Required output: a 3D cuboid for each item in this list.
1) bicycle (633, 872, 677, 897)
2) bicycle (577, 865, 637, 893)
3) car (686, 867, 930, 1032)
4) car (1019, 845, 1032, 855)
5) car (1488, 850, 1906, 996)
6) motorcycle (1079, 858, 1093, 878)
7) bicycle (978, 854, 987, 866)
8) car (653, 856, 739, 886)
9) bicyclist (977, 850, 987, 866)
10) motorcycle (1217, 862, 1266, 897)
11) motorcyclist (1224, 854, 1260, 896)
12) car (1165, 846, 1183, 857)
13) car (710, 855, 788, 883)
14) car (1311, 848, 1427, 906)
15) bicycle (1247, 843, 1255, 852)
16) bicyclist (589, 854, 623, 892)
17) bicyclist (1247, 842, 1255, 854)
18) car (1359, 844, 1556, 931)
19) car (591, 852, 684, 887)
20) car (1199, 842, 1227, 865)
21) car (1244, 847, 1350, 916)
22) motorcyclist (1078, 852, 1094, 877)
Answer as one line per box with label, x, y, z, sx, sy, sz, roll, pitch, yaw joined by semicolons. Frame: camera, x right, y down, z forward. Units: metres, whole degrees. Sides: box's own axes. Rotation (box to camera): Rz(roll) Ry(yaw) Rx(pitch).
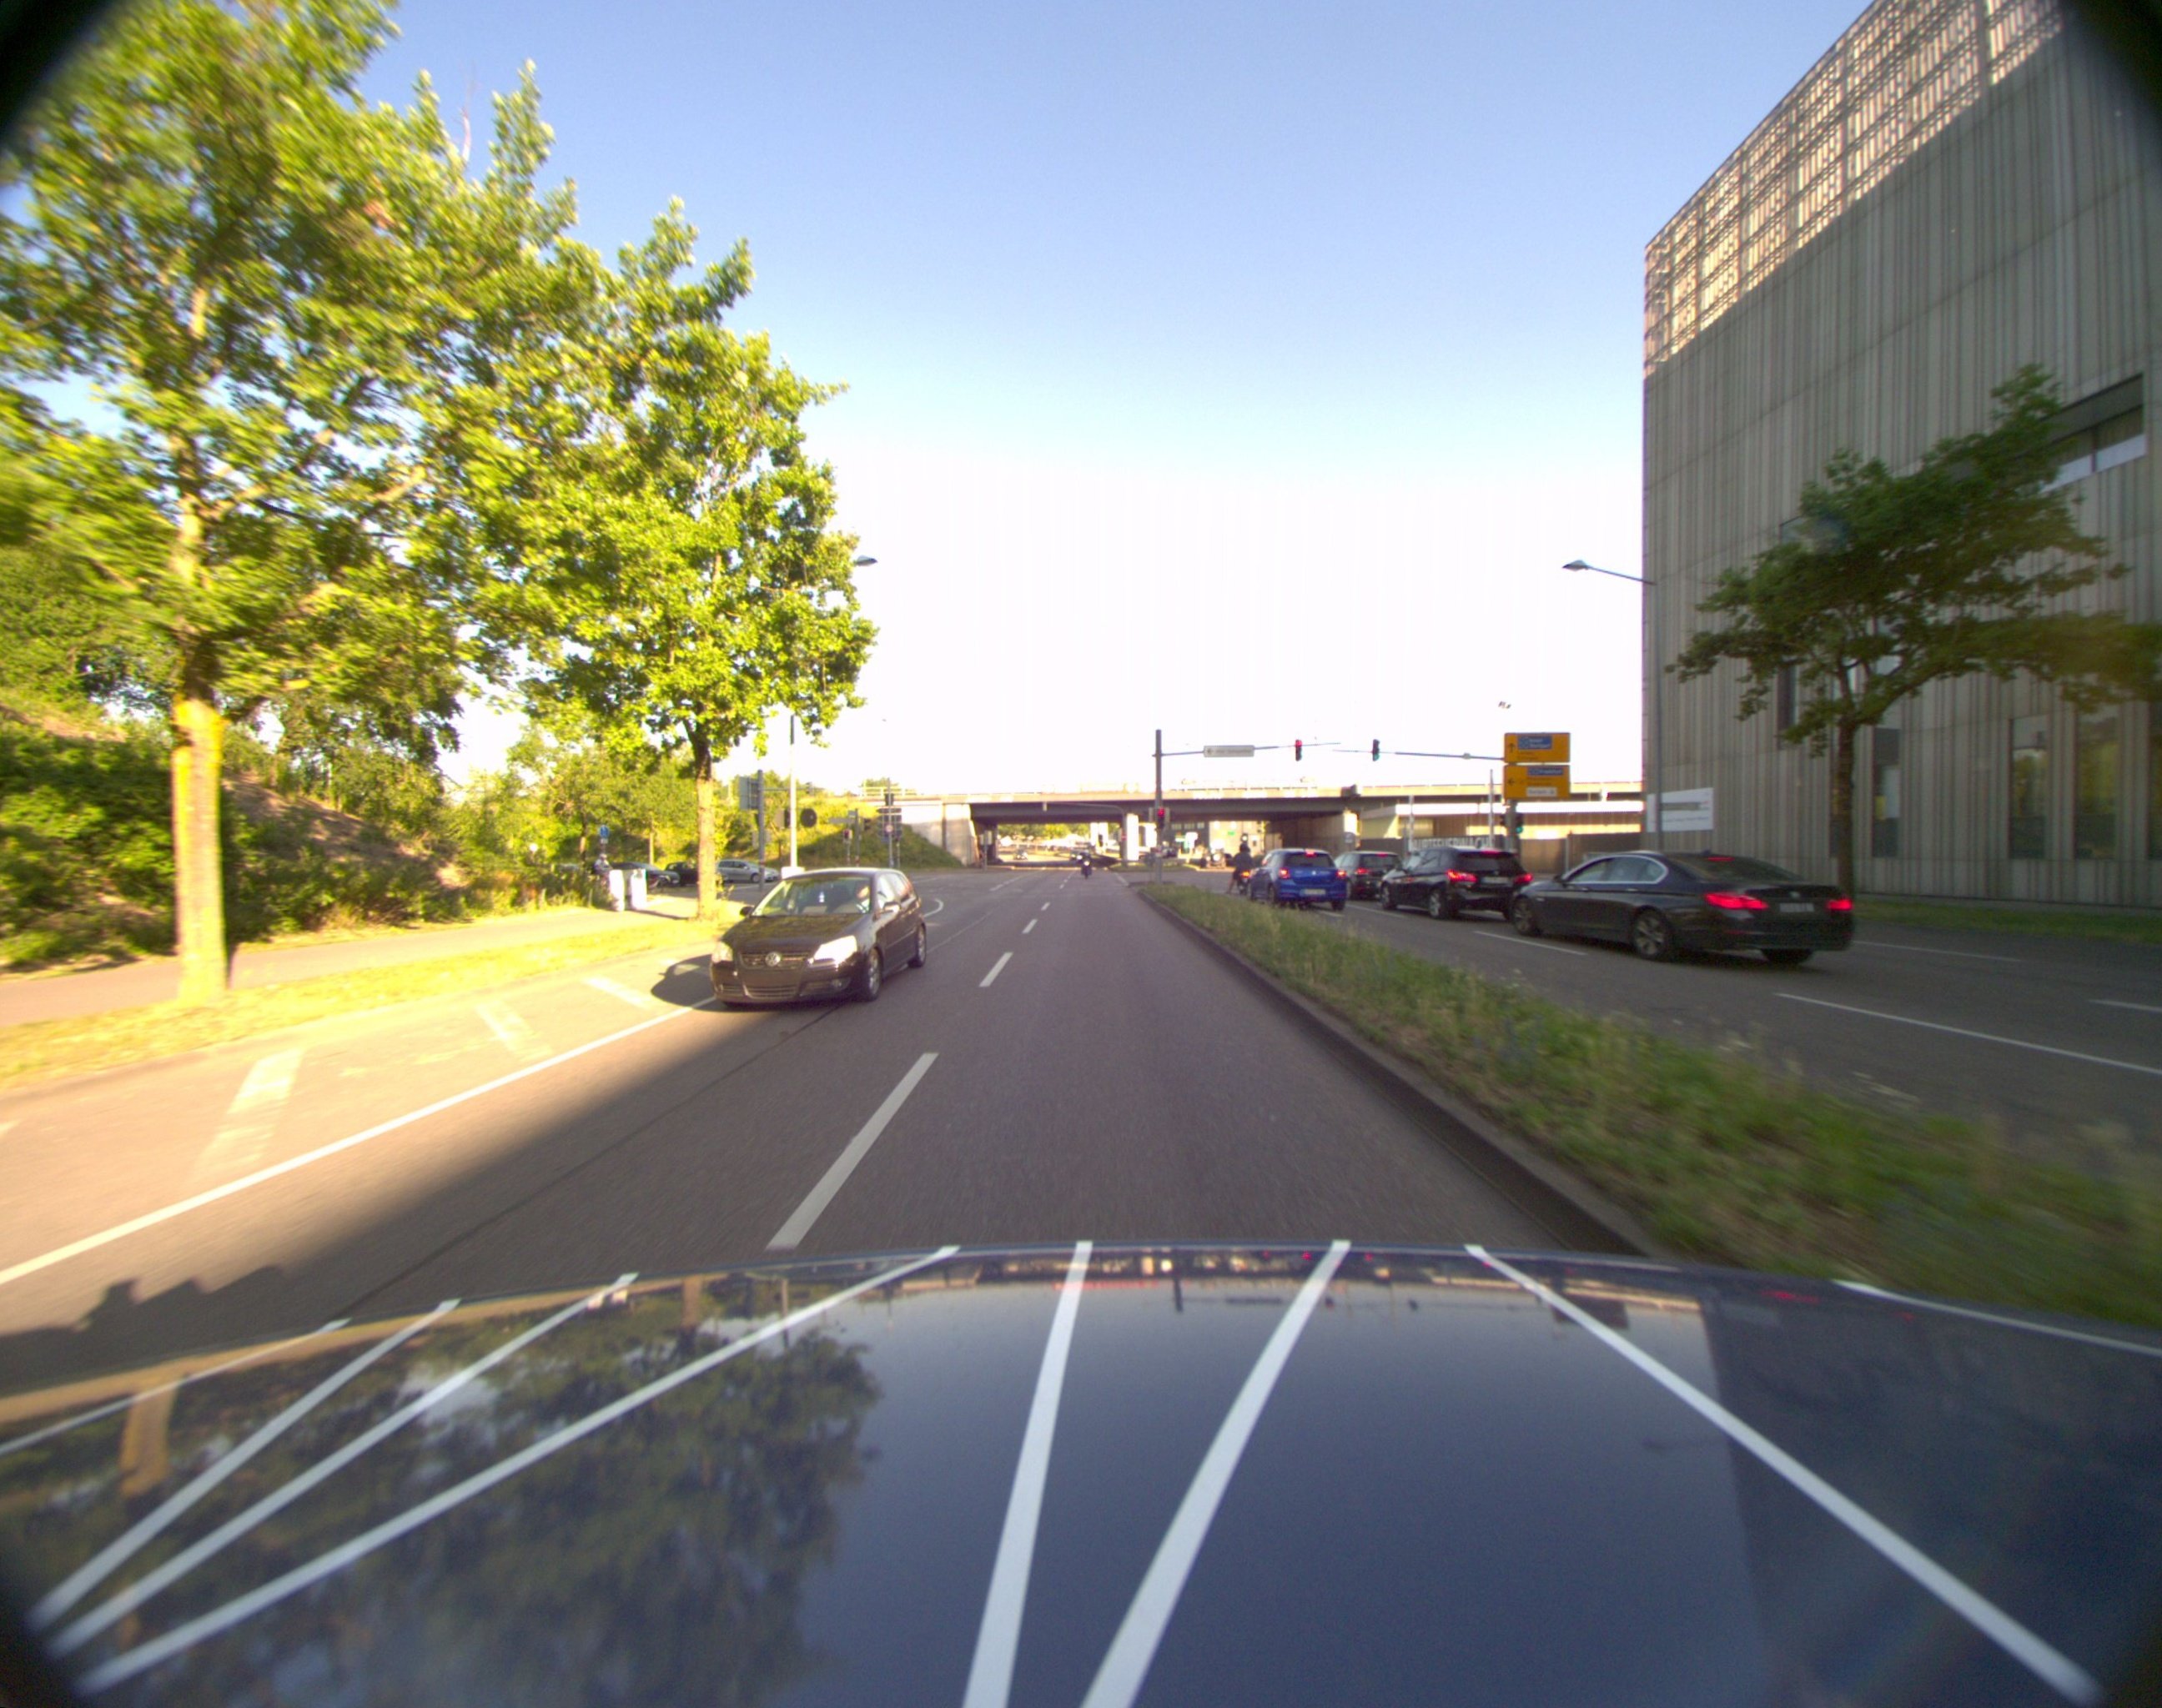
bicycle;-17.498;1.236;31.209;1.664;0.985;0.579;0;-1;17
bicycle;-20.578;1.079;33.000;2.018;1.106;0.821;-2;2;0
car;-3.035;0.968;9.285;1.621;1.402;3.681;-2;2;-1
car;-8.894;-0.641;122.329;1.876;1.431;3.682;-2;2;0
car;8.219;0.766;10.948;1.999;1.444;4.797;3;2;-1
motorcycle;0.306;0.828;45.069;0.811;1.040;2.352;-2;2;1
bicycle;-9.292;0.542;71.504;0.783;1.051;2.494;-3;2;-7
car;-22.620;1.008;44.729;3.995;1.521;2.000;-2;2;7
bicyclist;-9.336;0.350;71.556;0.843;1.413;1.113;-3;2;-8
motorcycle;5.283;0.824;25.199;0.842;1.069;2.399;1;0;-6
motorcyclist;5.292;0.681;25.092;0.799;1.341;1.274;1;0;-6
car;13.408;-0.330;110.262;1.999;1.393;4.347;3;2;-1
car;-20.791;0.915;47.650;3.996;1.521;1.890;-2;2;2
car;8.843;0.639;23.756;1.999;1.467;4.079;-3;2;-1
bicycle;21.788;-0.866;97.619;0.706;1.149;2.081;-2;0;5
bicyclist;-20.613;0.821;32.980;0.859;1.586;0.793;-2;2;0
bicyclist;21.852;-0.807;97.679;0.725;1.555;0.939;-2;2;5
car;8.245;0.626;17.252;1.999;1.583;4.713;3;2;-1
car;-24.169;0.808;41.457;3.995;1.684;1.863;-2;2;7
car;12.150;-0.029;70.075;1.799;1.967;3.993;2;0;-1
car;5.370;0.612;19.369;1.706;1.444;3.857;3;2;3
motorcyclist;0.297;0.630;45.005;0.839;1.434;0.878;-2;2;1
